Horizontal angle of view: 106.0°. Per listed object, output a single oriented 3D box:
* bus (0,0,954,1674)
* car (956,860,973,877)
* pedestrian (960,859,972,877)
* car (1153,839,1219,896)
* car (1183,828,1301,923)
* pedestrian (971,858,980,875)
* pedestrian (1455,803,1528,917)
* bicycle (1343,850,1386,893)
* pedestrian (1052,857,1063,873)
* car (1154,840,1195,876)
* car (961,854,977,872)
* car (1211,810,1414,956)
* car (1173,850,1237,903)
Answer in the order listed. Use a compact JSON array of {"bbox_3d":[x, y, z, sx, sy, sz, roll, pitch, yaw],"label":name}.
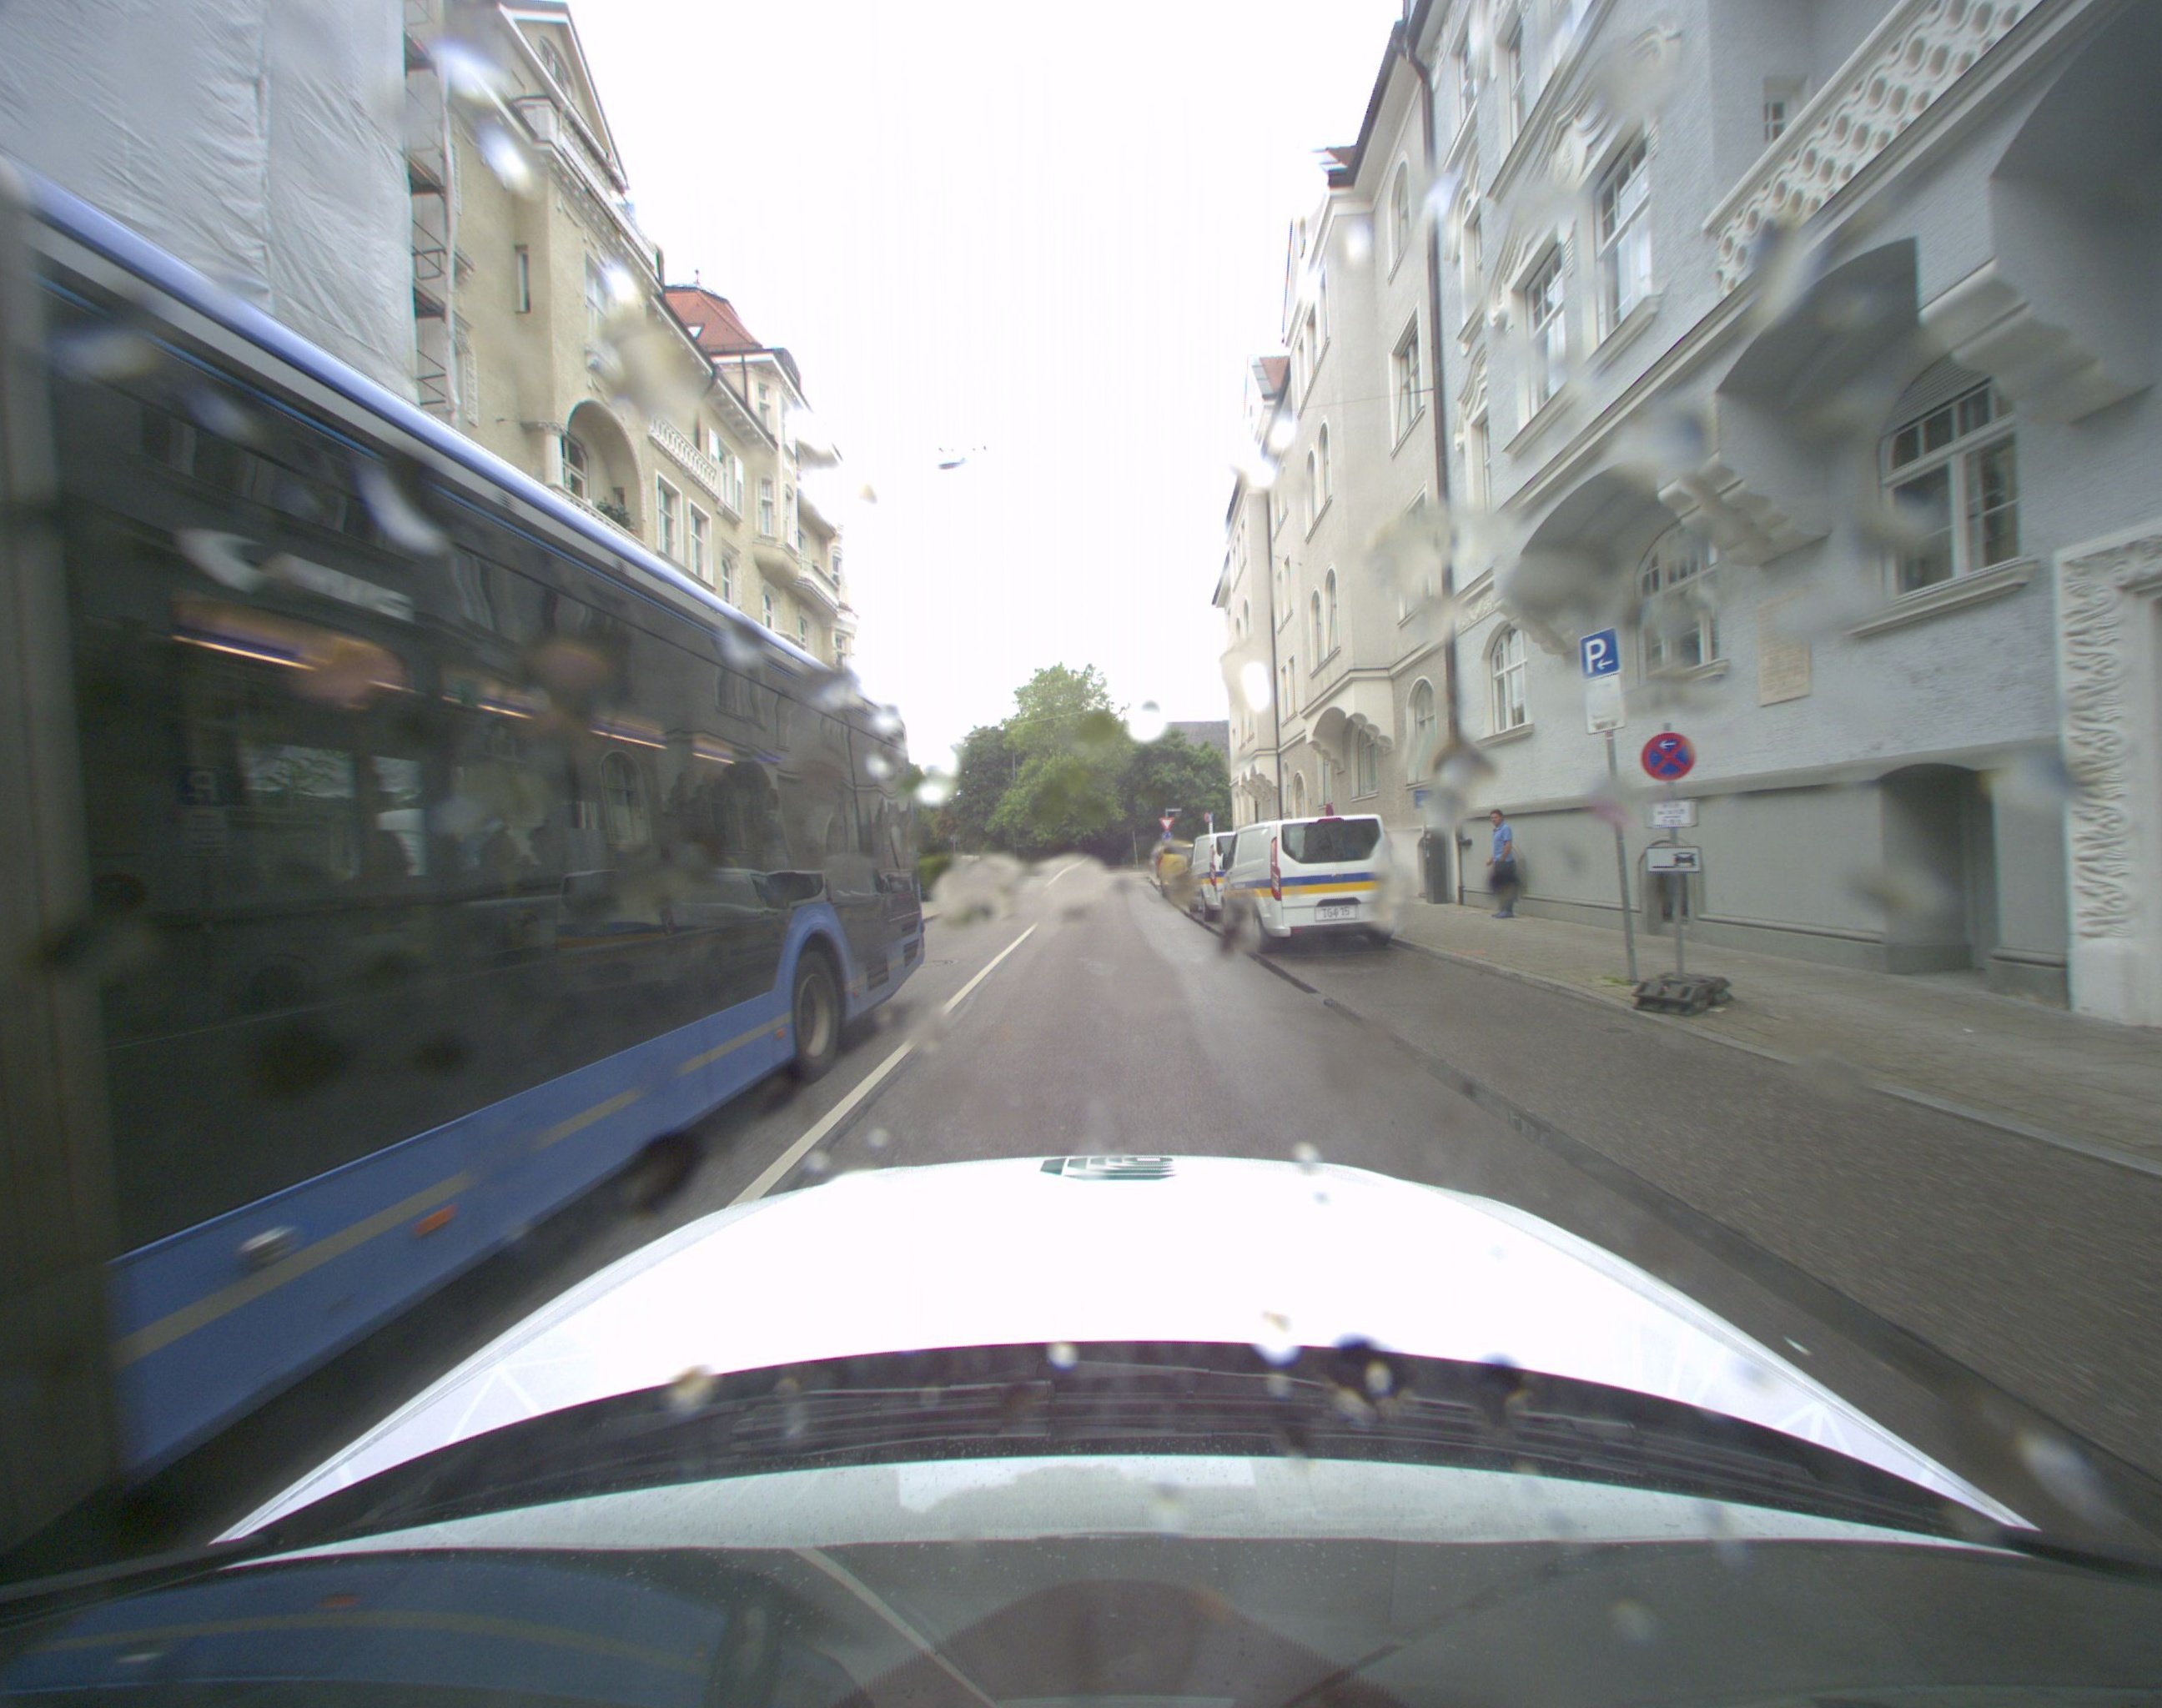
[{"bbox_3d":[-3.623,-0.053,0.715,3.158,3.212,18.069,-4,0,3],"label":"bus"},{"bbox_3d":[-14.597,1.801,102.013,1.910,1.937,4.956,-2,0,-7],"label":"car"},{"bbox_3d":[-12.018,1.429,85.098,0.825,1.836,0.942,-2,-1,-33],"label":"pedestrian"},{"bbox_3d":[3.867,0.469,30.688,1.986,1.918,4.573,-2,0,2],"label":"car"},{"bbox_3d":[3.706,0.466,19.668,1.986,1.918,4.889,-2,0,2],"label":"car"},{"bbox_3d":[-11.040,1.313,85.019,0.637,1.667,0.691,-2,-1,-28],"label":"pedestrian"},{"bbox_3d":[7.111,0.105,14.137,0.847,1.903,0.747,-2,-1,5],"label":"pedestrian"},{"bbox_3d":[8.019,0.481,23.085,0.663,1.133,1.723,-2,0,3],"label":"bicycle"},{"bbox_3d":[-2.070,0.962,72.257,0.765,1.356,1.133,-2,0,4],"label":"pedestrian"},{"bbox_3d":[5.603,0.218,49.338,1.931,1.922,5.377,-3,0,2],"label":"car"},{"bbox_3d":[-16.223,1.306,118.001,1.990,2.558,5.420,-2,0,-5],"label":"car"},{"bbox_3d":[3.562,0.409,13.608,1.987,1.918,4.878,-2,0,1],"label":"car"},{"bbox_3d":[3.898,0.668,26.062,1.626,1.514,3.888,-2,0,3],"label":"car"}]
